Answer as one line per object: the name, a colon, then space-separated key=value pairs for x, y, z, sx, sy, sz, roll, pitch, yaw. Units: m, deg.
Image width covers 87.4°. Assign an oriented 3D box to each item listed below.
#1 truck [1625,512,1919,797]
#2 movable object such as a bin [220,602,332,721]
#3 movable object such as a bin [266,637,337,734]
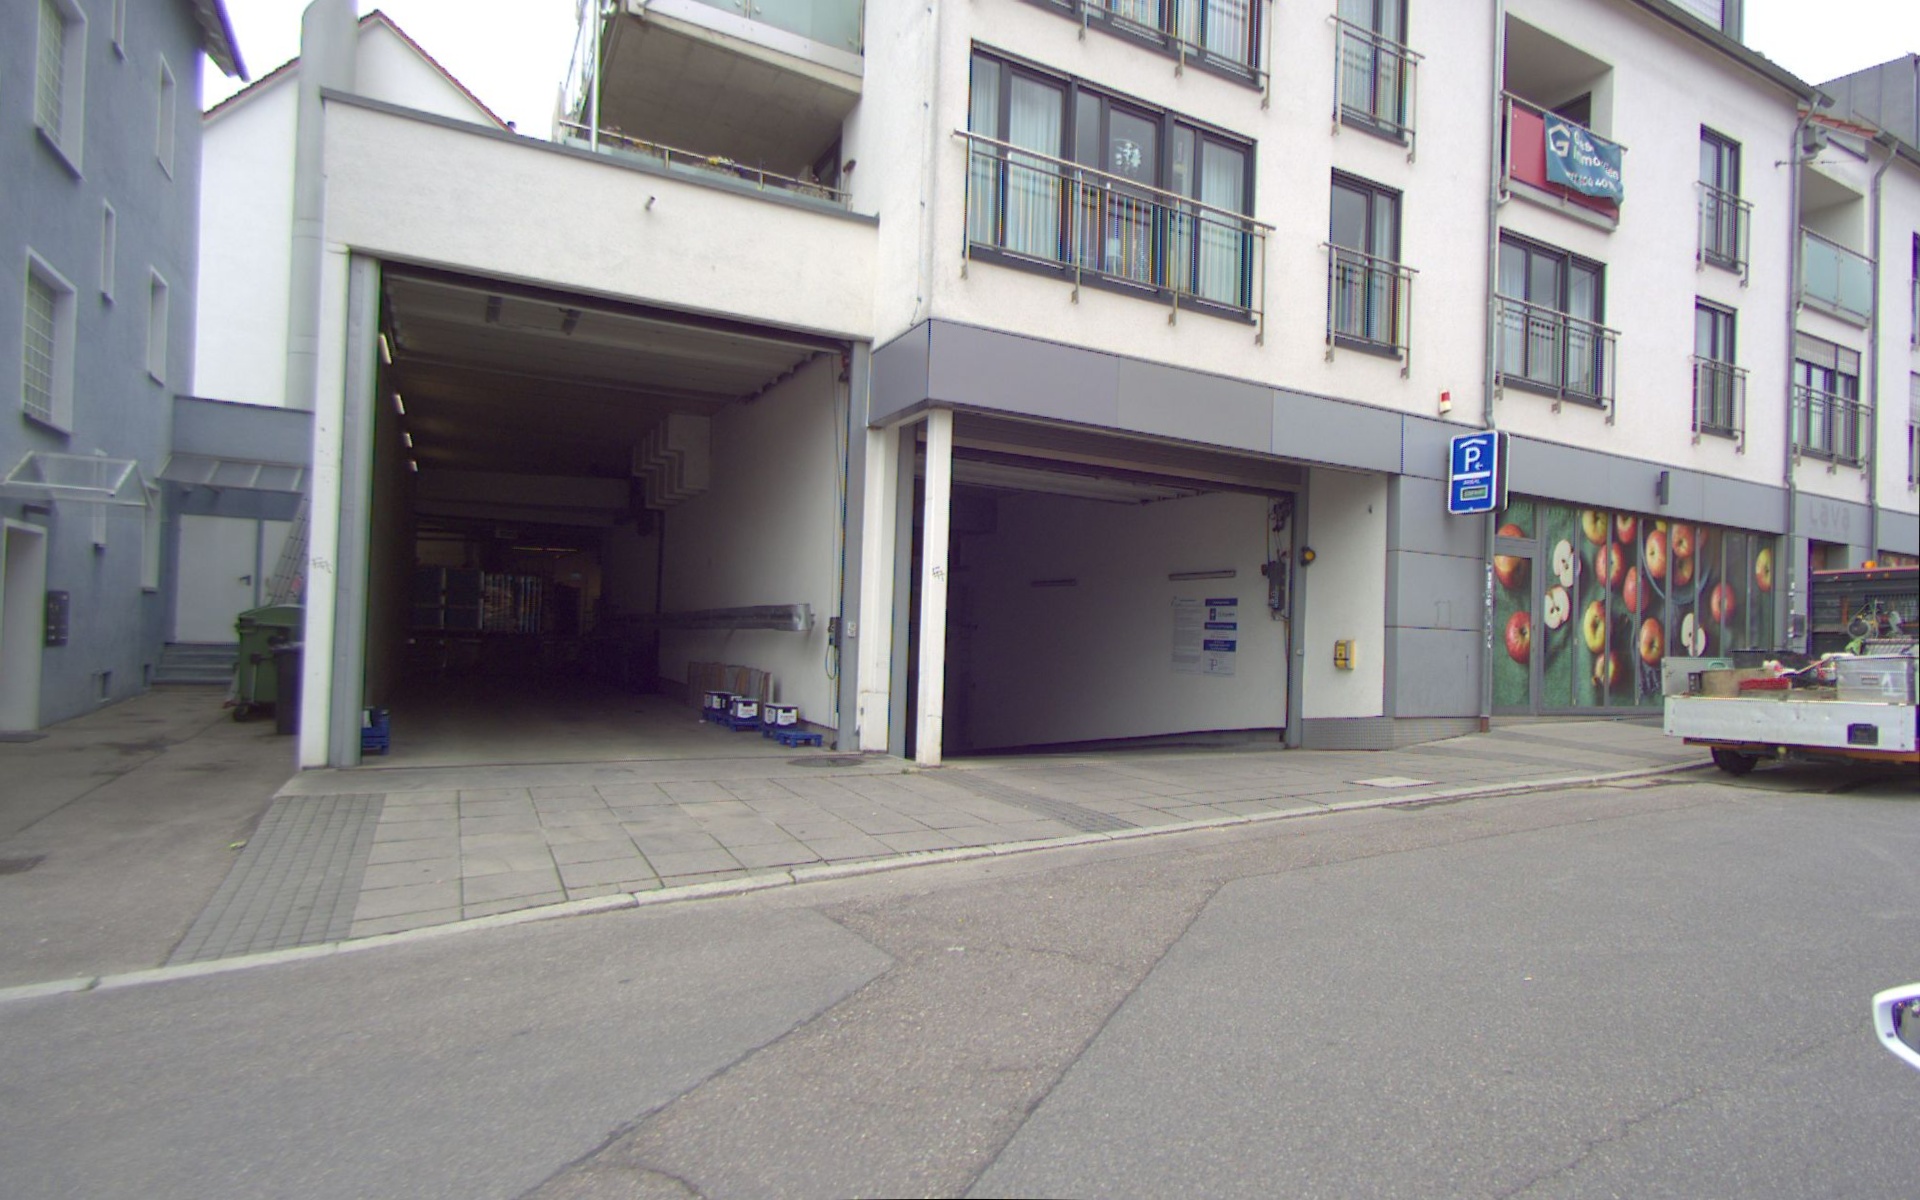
truck: x=10.521 y=0.553 z=11.384 sx=6.231 sy=2.498 sz=2.403 roll=1 pitch=-2 yaw=-29
movable object such as a bin: x=-8.603 y=0.761 z=12.673 sx=1.063 sy=1.454 sz=0.532 roll=1 pitch=-1 yaw=-25
movable object such as a bin: x=-7.591 y=0.977 z=11.596 sx=0.629 sy=1.081 sz=0.336 roll=1 pitch=-1 yaw=-28
